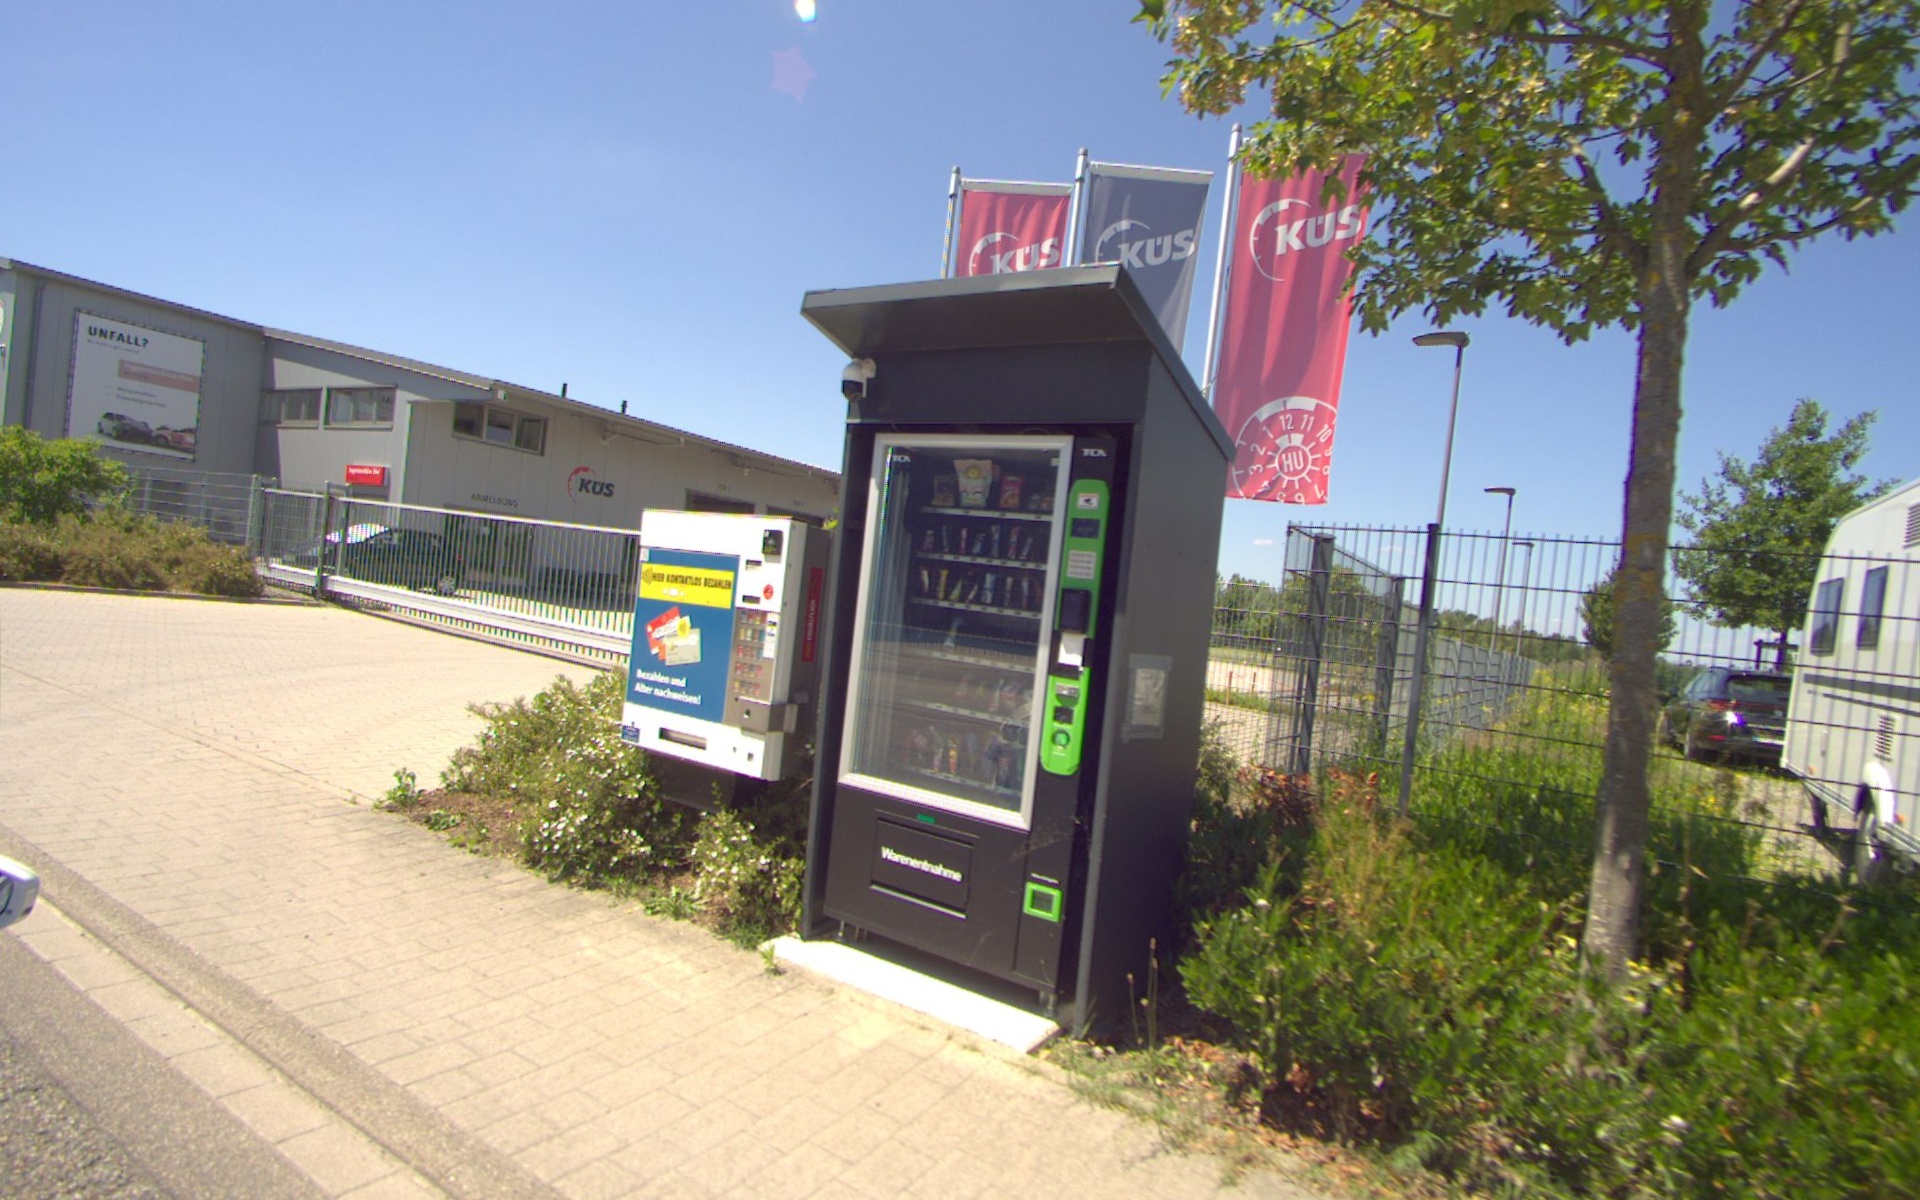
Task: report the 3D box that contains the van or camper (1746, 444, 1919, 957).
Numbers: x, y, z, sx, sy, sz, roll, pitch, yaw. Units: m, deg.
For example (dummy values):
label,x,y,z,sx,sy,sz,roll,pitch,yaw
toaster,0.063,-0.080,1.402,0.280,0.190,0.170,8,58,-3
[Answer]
label,x,y,z,sx,sy,sz,roll,pitch,yaw
van or camper,6.672,0.601,5.575,2.592,2.617,6.764,7,0,31

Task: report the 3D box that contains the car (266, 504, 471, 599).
label,x,y,z,sx,sy,sz,roll,pitch,yaw
car,-13.542,-1.071,23.207,1.674,1.698,3.615,7,0,31

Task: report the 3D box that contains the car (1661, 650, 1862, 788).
label,x,y,z,sx,sy,sz,roll,pitch,yaw
car,11.829,1.665,15.109,1.721,1.596,3.824,7,1,31
